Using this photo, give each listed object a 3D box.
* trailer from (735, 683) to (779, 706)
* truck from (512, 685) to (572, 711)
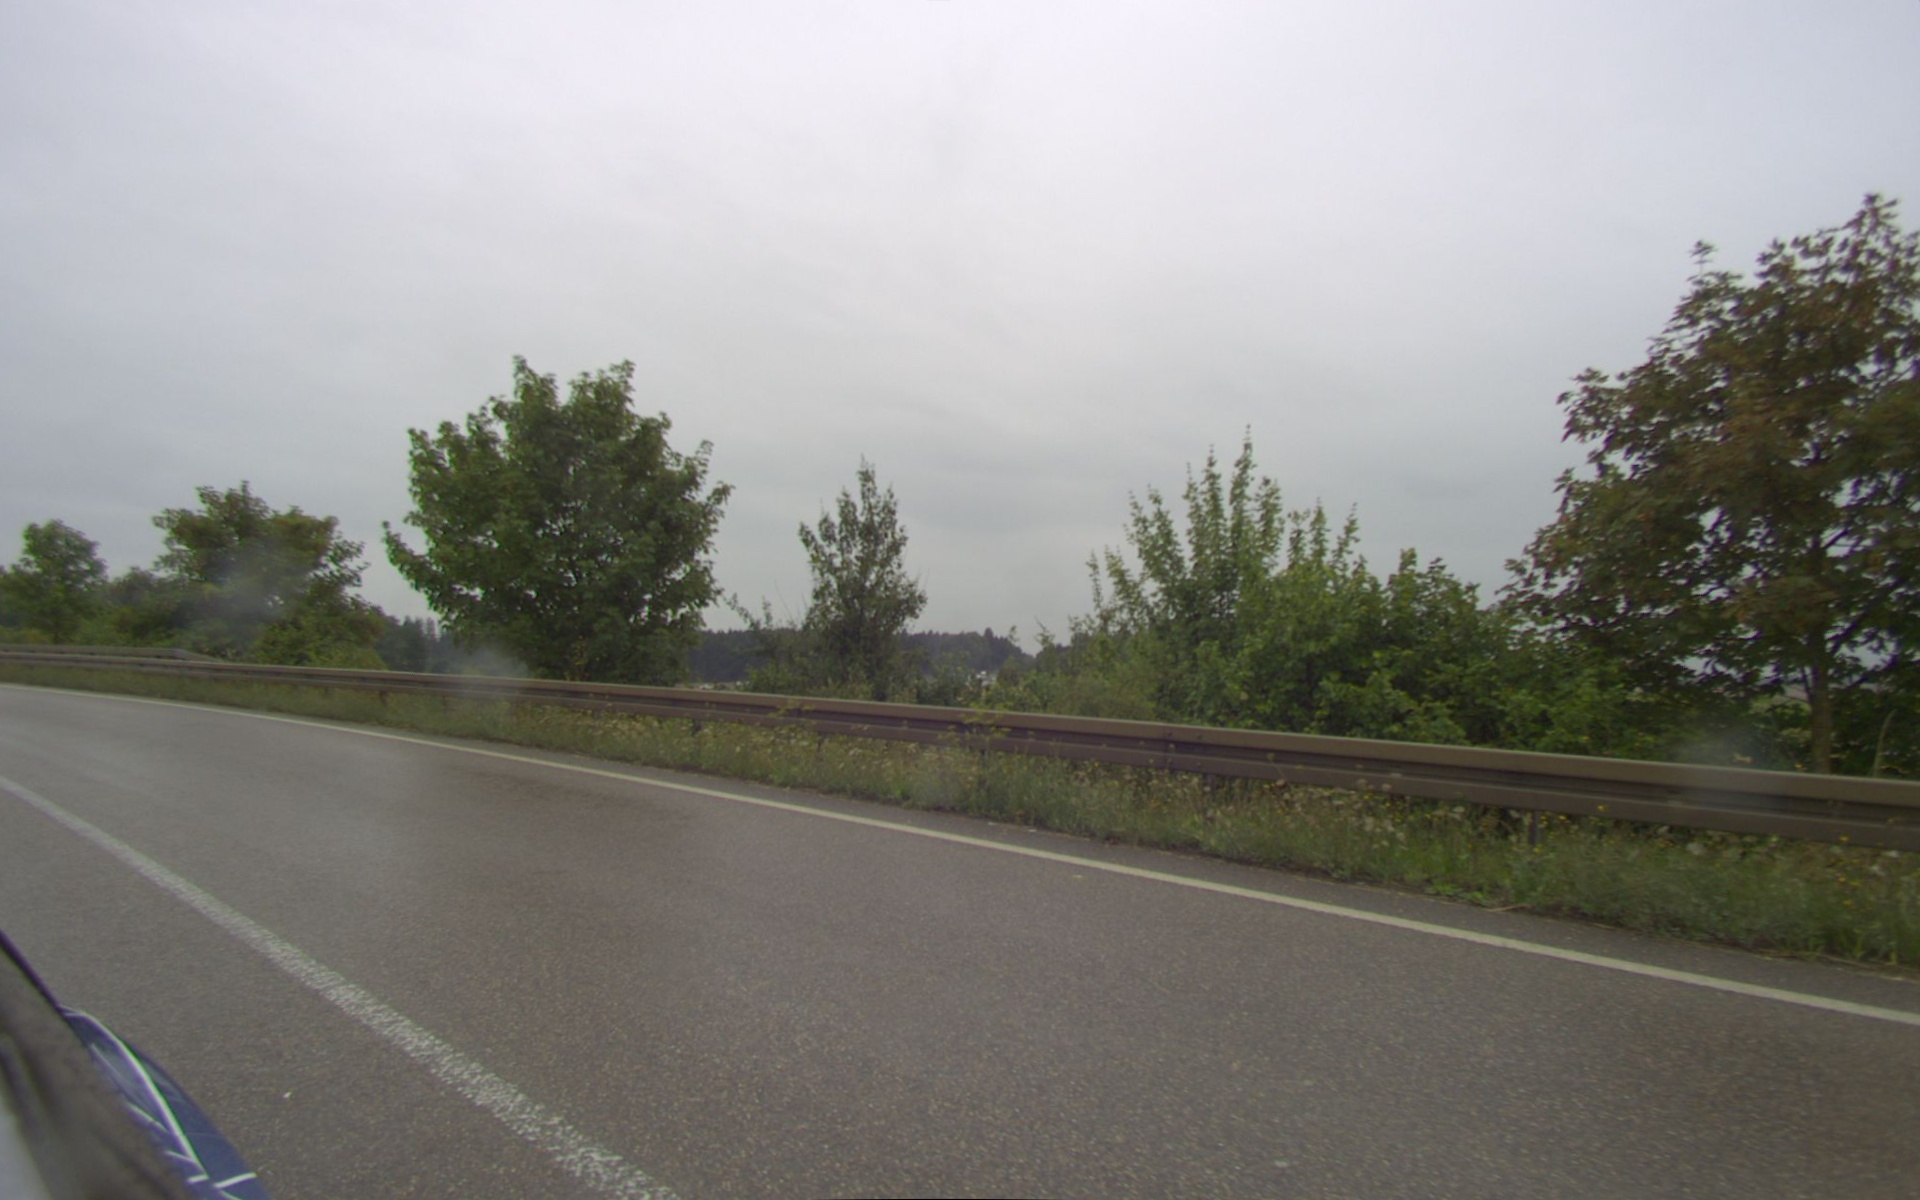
[{"bbox_3d":[-39.997,18.588,200.267,2.853,4.251,14.305,-1,-4,13],"label":"trailer"},{"bbox_3d":[-66.181,15.456,160.605,2.760,3.899,10.592,0,-5,14],"label":"truck"}]
